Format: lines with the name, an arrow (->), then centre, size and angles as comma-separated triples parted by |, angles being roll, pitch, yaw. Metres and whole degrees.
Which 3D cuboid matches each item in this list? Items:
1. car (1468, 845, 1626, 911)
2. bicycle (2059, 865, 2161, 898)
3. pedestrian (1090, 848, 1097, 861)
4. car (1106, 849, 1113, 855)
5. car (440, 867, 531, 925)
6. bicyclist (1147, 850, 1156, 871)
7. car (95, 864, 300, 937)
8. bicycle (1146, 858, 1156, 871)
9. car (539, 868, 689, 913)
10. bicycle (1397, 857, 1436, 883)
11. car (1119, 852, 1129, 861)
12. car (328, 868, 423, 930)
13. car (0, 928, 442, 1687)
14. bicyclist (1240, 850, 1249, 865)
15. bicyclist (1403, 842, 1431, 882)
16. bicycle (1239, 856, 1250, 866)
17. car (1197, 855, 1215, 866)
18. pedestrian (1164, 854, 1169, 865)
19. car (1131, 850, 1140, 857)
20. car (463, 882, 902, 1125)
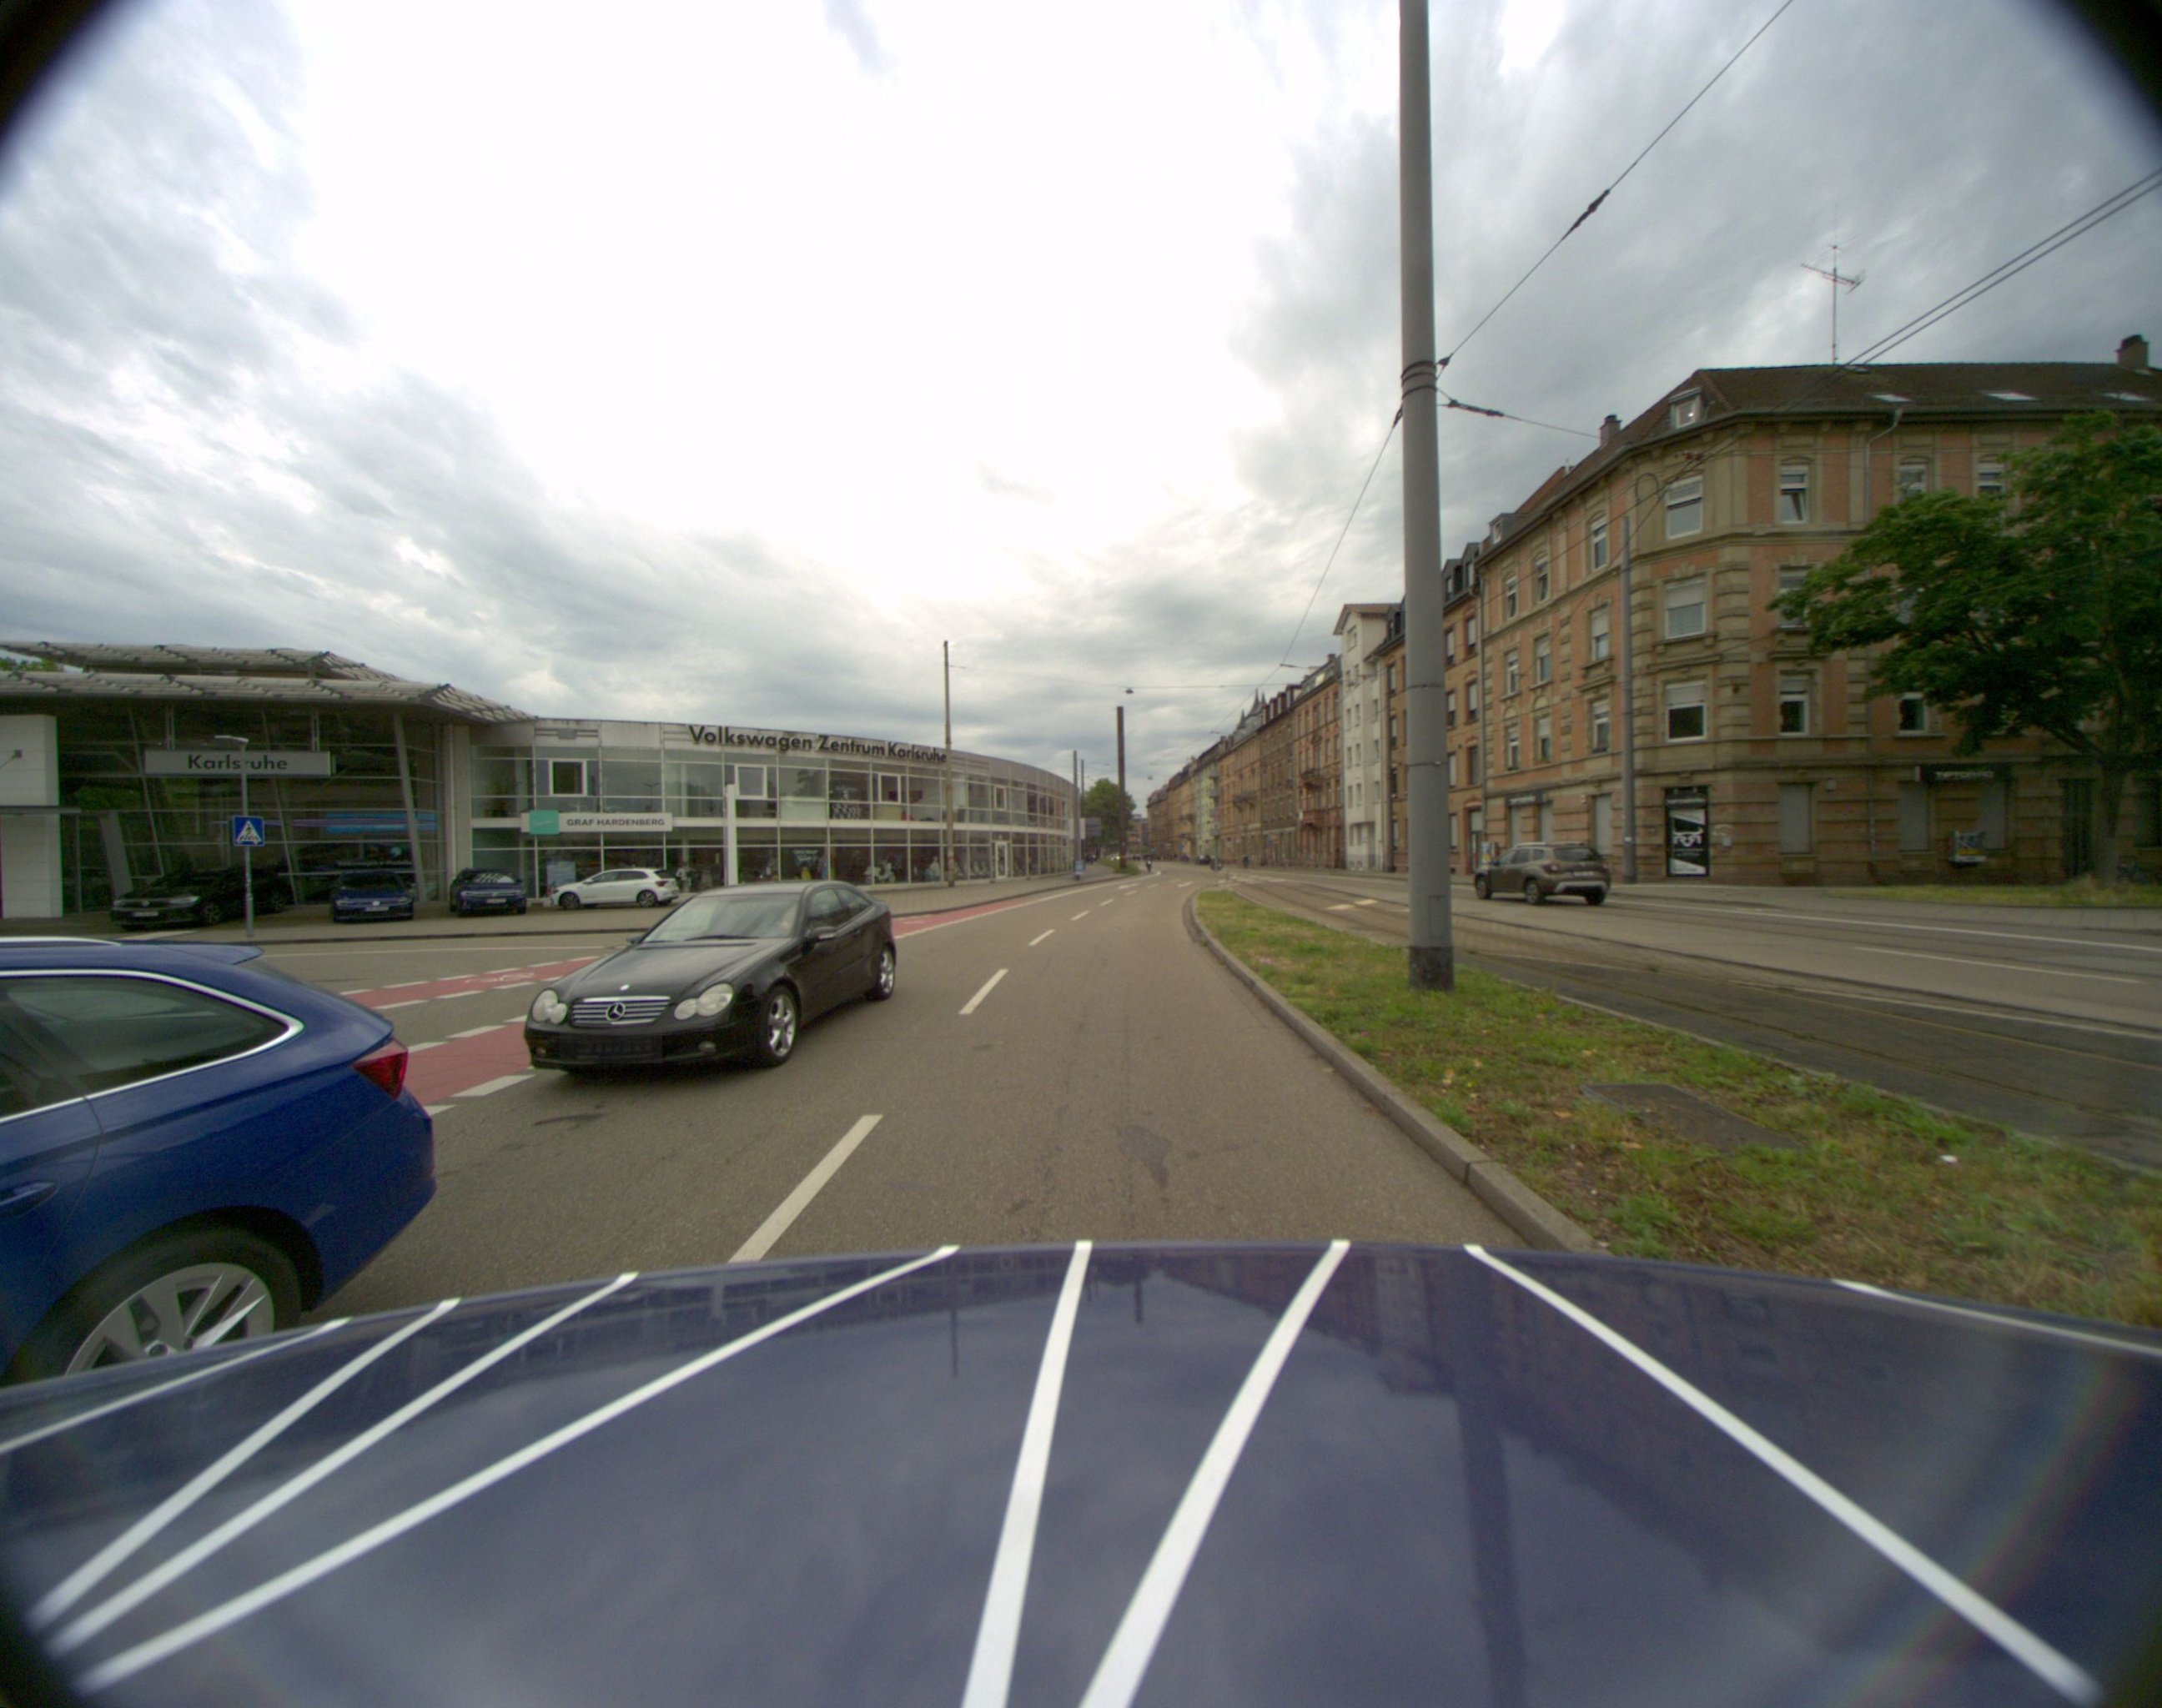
car -> 12.816, 0.587, 21.268 | 1.802, 1.630, 4.229 | -1, 0, 0
bicycle -> 30.332, 0.826, 22.232 | 0.662, 0.909, 1.989 | 0, -3, -10
pedestrian -> 1.731, 0.084, 105.083 | 0.871, 1.843, 0.706 | -1, 1, 1
car -> 7.585, -0.544, 205.777 | 1.802, 1.630, 4.230 | -1, 0, 1
car -> -20.139, 1.345, 25.640 | 1.905, 1.554, 4.207 | -2, 3, -45
bicyclist -> 5.948, 0.517, 64.299 | 0.730, 1.747, 0.911 | -1, 1, 7
car -> -26.471, 1.292, 23.056 | 1.862, 1.624, 4.500 | -2, 4, -18
bicycle -> 5.919, 0.889, 64.040 | 0.727, 1.003, 2.177 | -1, 0, 7
car -> -16.988, 1.287, 27.839 | 4.263, 1.444, 1.781 | -1, 0, -9
bicycle -> 16.119, 0.735, 36.570 | 0.826, 1.201, 2.234 | 0, 0, -1
car -> 8.394, 0.496, 150.227 | 1.802, 1.630, 4.230 | -1, 0, 1
car -> -22.192, 1.314, 23.843 | 4.325, 1.496, 1.862 | 3, 3, 43
car -> -3.188, 1.037, 0.440 | 1.784, 1.480, 4.465 | -1, 1, 1
bicyclist -> 16.073, 0.367, 74.730 | 0.663, 1.486, 0.942 | -1, 1, -3
bicyclist -> 16.124, 0.380, 36.481 | 0.831, 1.881, 1.049 | 0, 0, -1
bicycle -> 16.079, 0.697, 74.701 | 0.607, 0.910, 1.719 | -1, 0, -4
car -> 16.922, 0.871, 102.959 | 1.852, 1.471, 3.828 | -1, 0, 3
pedestrian -> 16.896, 1.089, 150.406 | 0.814, 2.002, 0.733 | -1, 1, 1
car -> 12.682, -0.155, 176.547 | 1.802, 1.630, 4.230 | -1, 0, 1
car -> -3.108, 1.068, 7.025 | 1.714, 1.413, 4.070 | -1, 0, 3
